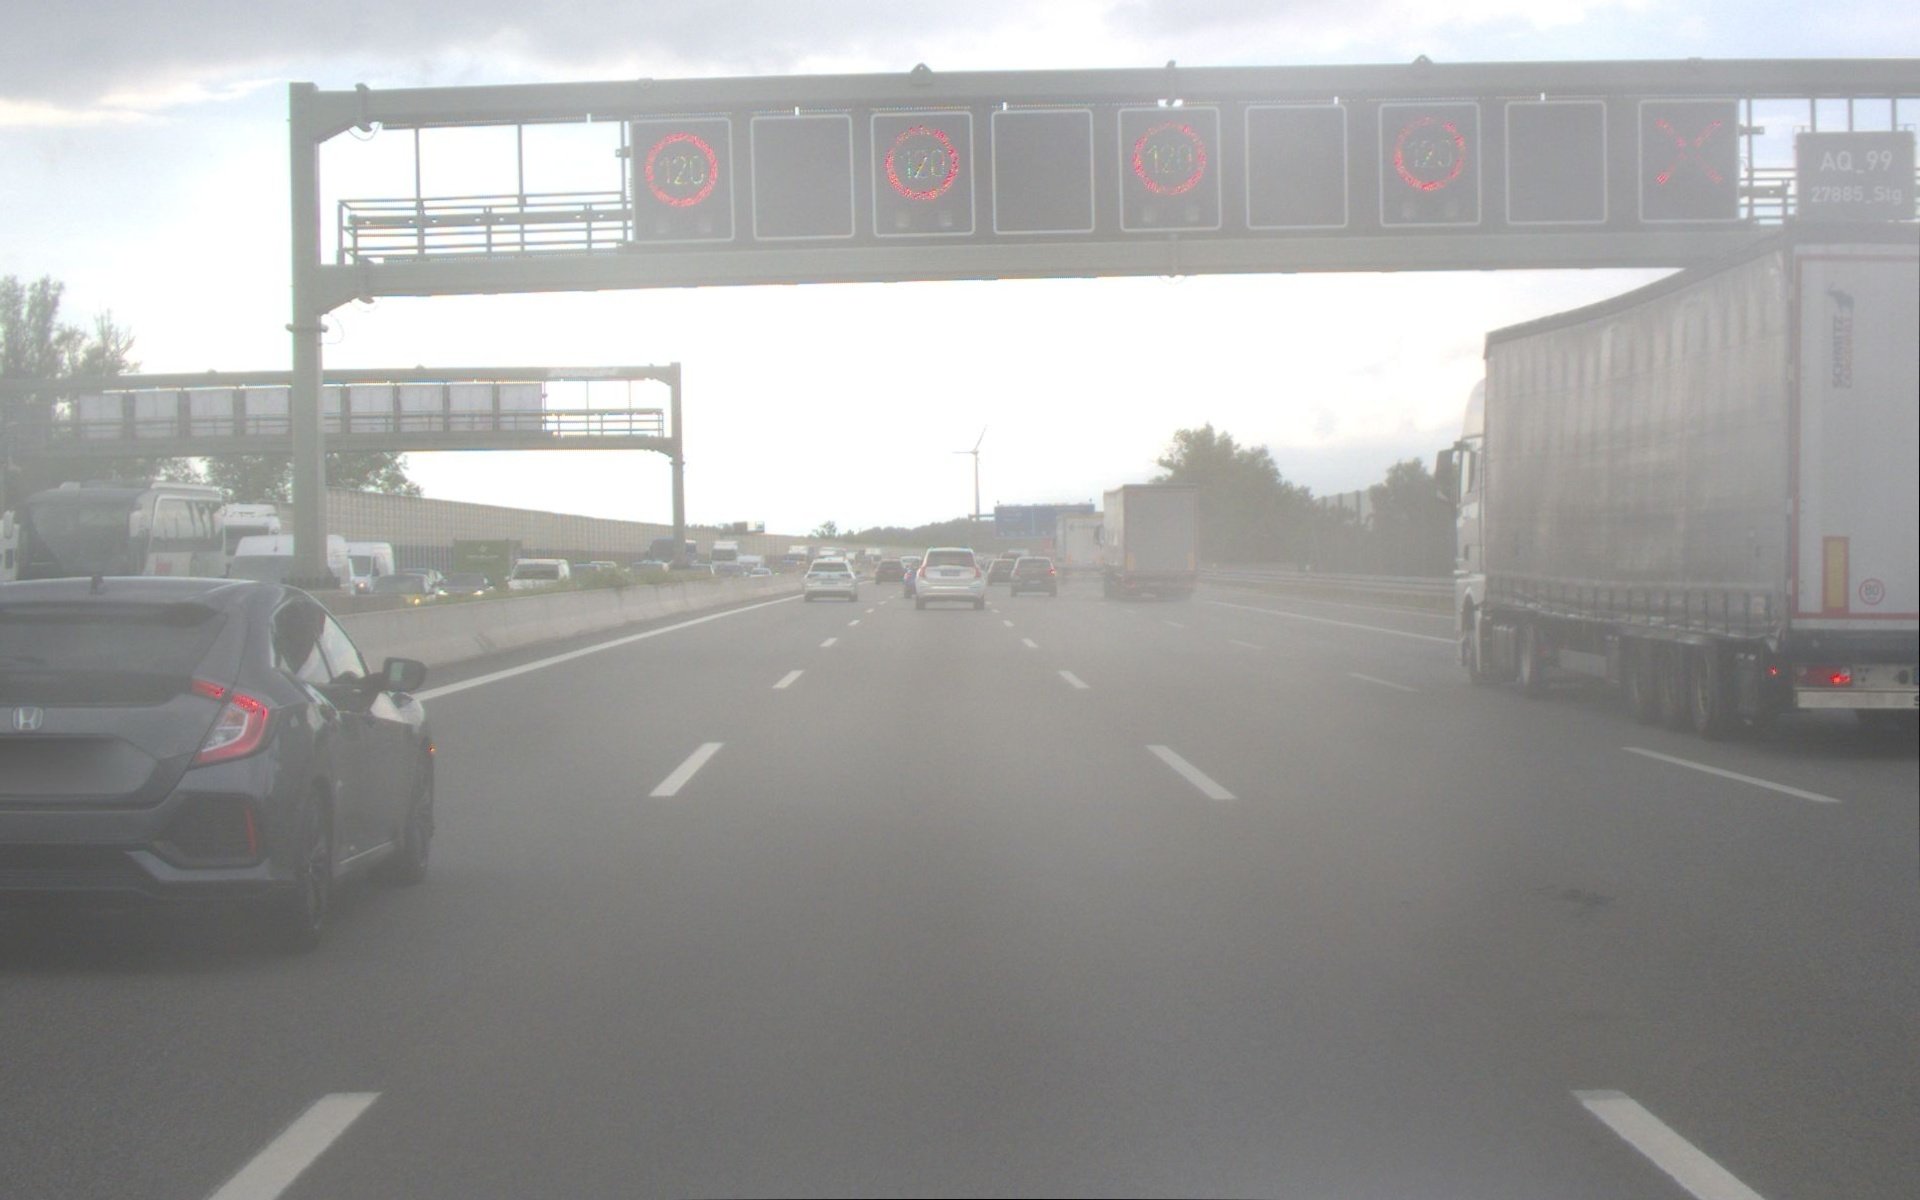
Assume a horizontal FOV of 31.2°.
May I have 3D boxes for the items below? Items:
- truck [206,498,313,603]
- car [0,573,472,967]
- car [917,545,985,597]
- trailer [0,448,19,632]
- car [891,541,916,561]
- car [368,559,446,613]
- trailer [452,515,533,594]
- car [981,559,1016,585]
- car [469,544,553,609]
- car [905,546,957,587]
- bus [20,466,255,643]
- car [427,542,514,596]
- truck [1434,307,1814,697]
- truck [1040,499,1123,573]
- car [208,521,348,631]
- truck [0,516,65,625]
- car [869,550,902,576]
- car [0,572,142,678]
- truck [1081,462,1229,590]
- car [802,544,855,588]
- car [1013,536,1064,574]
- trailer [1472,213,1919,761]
[{"bbox_3d":[-26.402,-1.866,129.787,2.752,3.874,6.051,0,1,0],"label":"truck"},{"bbox_3d":[-3.282,0.601,15.067,1.760,1.364,5.061,0,1,-2],"label":"car"},{"bbox_3d":[-0.284,-0.841,97.730,1.772,1.436,4.056,0,1,-2],"label":"car"},{"bbox_3d":[-22.074,-1.230,68.192,2.886,3.948,14.299,1,1,0],"label":"trailer"},{"bbox_3d":[-4.149,-3.596,253.602,1.772,1.436,4.056,0,1,-1],"label":"car"},{"bbox_3d":[-14.686,-0.381,91.419,1.614,1.383,3.328,0,1,-2],"label":"car"},{"bbox_3d":[-18.994,-1.847,139.996,2.449,3.128,6.051,0,1,0],"label":"trailer"},{"bbox_3d":[2.156,-1.579,192.709,1.835,1.436,4.056,0,1,-1],"label":"car"},{"bbox_3d":[-15.857,-0.827,121.748,2.230,2.229,5.513,0,1,0],"label":"car"},{"bbox_3d":[-1.084,-1.250,126.558,1.772,1.436,4.056,0,1,-2],"label":"car"},{"bbox_3d":[-18.314,-1.006,77.306,2.654,3.667,10.634,0,1,0],"label":"bus"},{"bbox_3d":[-19.023,-1.238,133.882,2.449,2.044,6.193,0,1,0],"label":"car"},{"bbox_3d":[7.328,-1.078,38.898,2.961,4.006,6.589,0,1,0],"label":"truck"},{"bbox_3d":[7.111,-3.739,203.084,4.243,4.162,11.990,1,1,-1],"label":"truck"},{"bbox_3d":[-15.226,-0.556,77.063,2.136,2.343,5.711,1,1,-2],"label":"car"},{"bbox_3d":[-26.072,-0.783,91.011,2.691,2.804,7.834,0,1,0],"label":"truck"},{"bbox_3d":[-4.303,-2.130,197.793,1.772,1.436,4.056,0,1,-3],"label":"car"},{"bbox_3d":[-14.199,0.359,54.052,1.736,1.534,4.378,1,1,-2],"label":"car"},{"bbox_3d":[6.853,-2.616,122.910,4.180,4.273,12.614,1,1,-1],"label":"truck"},{"bbox_3d":[-4.469,-1.170,116.812,1.772,1.436,3.874,0,1,-2],"label":"car"},{"bbox_3d":[3.073,-1.779,134.540,1.835,1.436,4.056,0,1,-1],"label":"car"},{"bbox_3d":[7.375,-0.959,32.241,2.961,4.006,14.119,0,1,0],"label":"trailer"}]
